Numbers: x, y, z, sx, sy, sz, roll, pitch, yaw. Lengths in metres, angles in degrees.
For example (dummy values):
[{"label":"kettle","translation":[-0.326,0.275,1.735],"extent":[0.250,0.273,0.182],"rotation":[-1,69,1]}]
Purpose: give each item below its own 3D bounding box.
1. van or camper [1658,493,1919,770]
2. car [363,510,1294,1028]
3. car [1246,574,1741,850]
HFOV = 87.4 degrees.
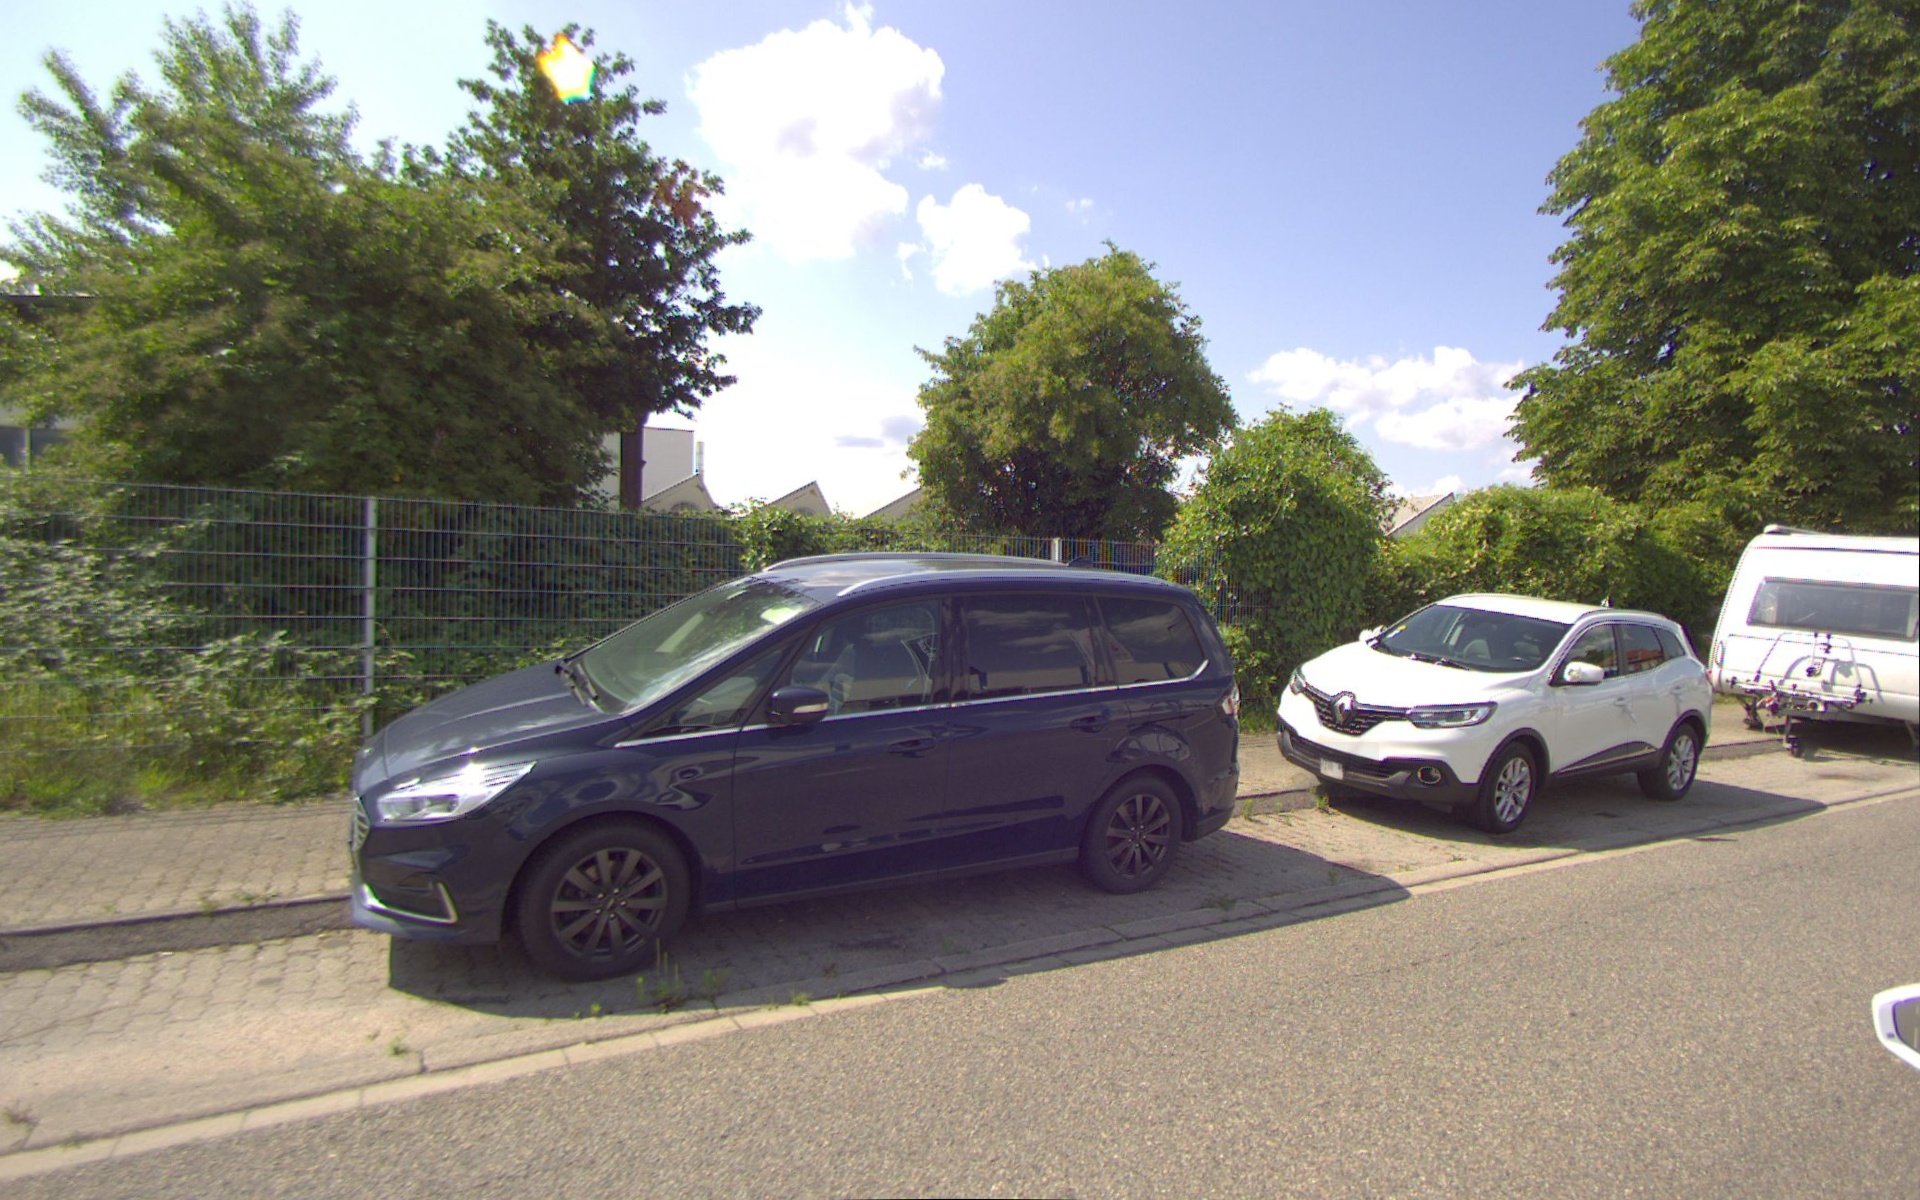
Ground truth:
[{"label":"van or camper","translation":[12.032,0.305,12.982],"extent":[6.756,2.841,2.250],"rotation":[1,4,-32]},{"label":"car","translation":[-0.513,0.620,5.500],"extent":[4.680,1.817,1.818],"rotation":[1,0,-31]},{"label":"car","translation":[4.619,0.756,8.490],"extent":[4.397,1.715,1.673],"rotation":[1,5,-33]}]
